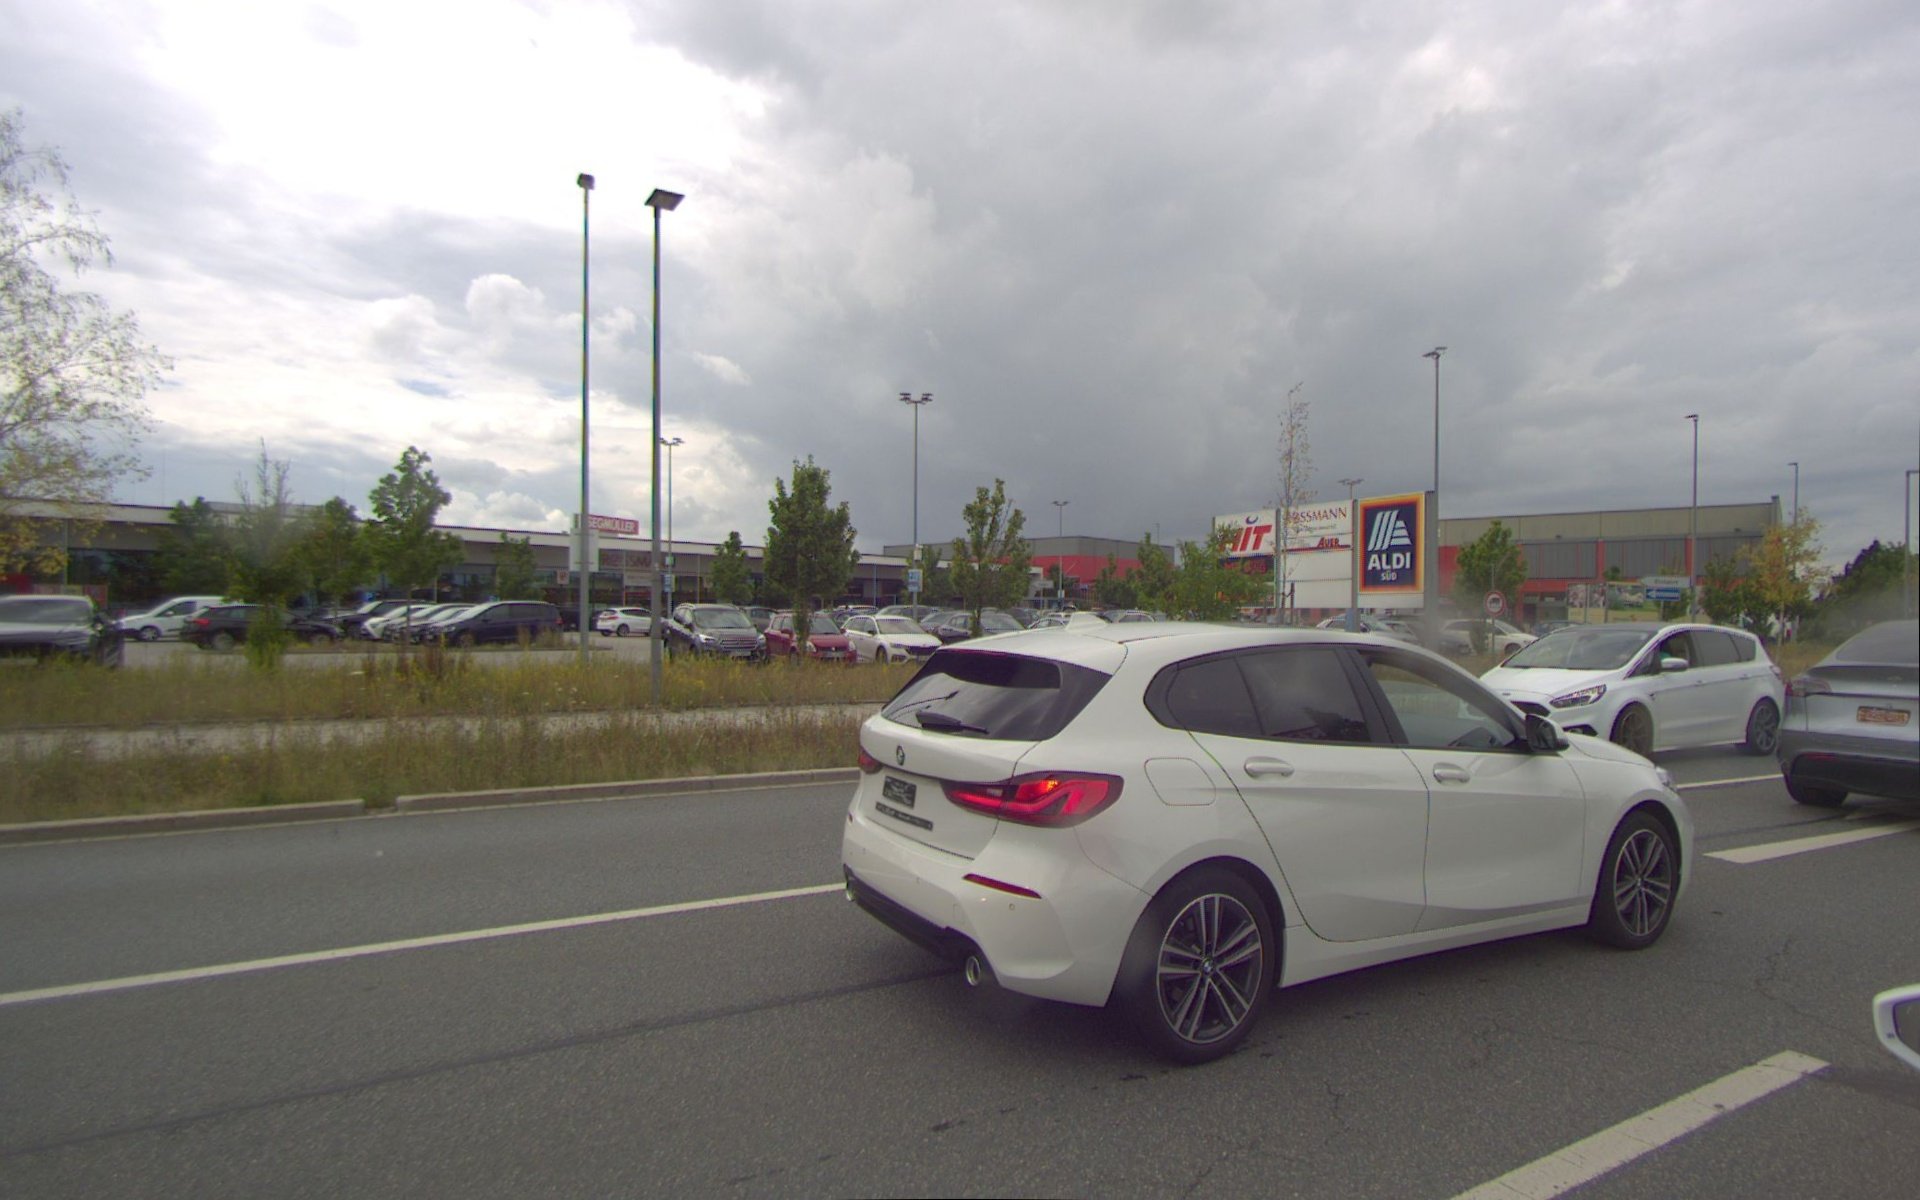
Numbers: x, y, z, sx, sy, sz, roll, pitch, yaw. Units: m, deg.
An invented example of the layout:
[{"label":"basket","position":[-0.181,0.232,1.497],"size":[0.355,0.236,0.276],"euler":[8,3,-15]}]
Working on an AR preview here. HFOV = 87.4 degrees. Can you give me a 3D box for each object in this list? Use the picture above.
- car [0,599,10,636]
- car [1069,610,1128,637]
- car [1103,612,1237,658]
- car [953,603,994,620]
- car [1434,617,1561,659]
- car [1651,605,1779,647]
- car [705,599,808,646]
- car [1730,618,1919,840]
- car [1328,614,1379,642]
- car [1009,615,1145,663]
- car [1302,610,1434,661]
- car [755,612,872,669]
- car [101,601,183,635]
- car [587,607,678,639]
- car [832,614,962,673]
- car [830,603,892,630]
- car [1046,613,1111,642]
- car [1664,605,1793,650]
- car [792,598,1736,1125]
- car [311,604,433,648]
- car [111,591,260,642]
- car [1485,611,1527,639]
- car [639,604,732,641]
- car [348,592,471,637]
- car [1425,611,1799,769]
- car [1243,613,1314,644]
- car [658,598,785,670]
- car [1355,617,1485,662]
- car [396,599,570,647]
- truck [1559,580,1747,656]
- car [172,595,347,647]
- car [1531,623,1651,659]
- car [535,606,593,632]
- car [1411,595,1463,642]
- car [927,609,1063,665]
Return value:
[{"label":"car","position":[-41.331,0.695,41.760],"size":[3.986,1.502,1.998],"euler":[0,-1,36]},{"label":"car","position":[8.830,1.503,63.803],"size":[1.969,1.628,3.982],"euler":[0,-1,39]},{"label":"car","position":[6.884,1.109,33.381],"size":[2.137,1.409,4.343],"euler":[1,-1,-26]},{"label":"car","position":[1.363,1.138,101.295],"size":[1.985,1.628,3.950],"euler":[2,-1,-42]},{"label":"car","position":[22.181,1.541,41.582],"size":[1.971,1.580,4.215],"euler":[1,-1,-37]},{"label":"car","position":[45.514,1.547,60.617],"size":[6.001,2.337,2.198],"euler":[1,-1,42]},{"label":"car","position":[-8.873,0.989,44.043],"size":[1.807,1.947,4.435],"euler":[1,-1,34]},{"label":"car","position":[8.809,0.974,8.476],"size":[4.555,1.582,1.986],"euler":[1,-1,-28]},{"label":"car","position":[25.415,1.774,64.852],"size":[1.969,1.752,3.982],"euler":[0,-1,39]},{"label":"car","position":[3.556,1.168,31.240],"size":[2.004,1.358,4.290],"euler":[1,-1,-31]},{"label":"car","position":[15.277,1.309,37.833],"size":[2.006,1.746,4.218],"euler":[2,-1,-32]},{"label":"car","position":[-4.031,1.042,27.077],"size":[1.974,1.409,4.070],"euler":[1,-1,-27]},{"label":"car","position":[-37.790,0.818,46.404],"size":[3.986,1.502,1.998],"euler":[0,-1,36]},{"label":"car","position":[-16.713,1.151,51.388],"size":[1.970,1.566,3.981],"euler":[0,-1,40]},{"label":"car","position":[-1.850,1.163,28.193],"size":[1.986,1.476,4.299],"euler":[1,-1,-29]},{"label":"car","position":[-6.637,1.129,67.839],"size":[1.969,1.755,3.982],"euler":[0,-1,39]},{"label":"car","position":[6.891,1.579,58.231],"size":[1.969,1.628,3.982],"euler":[0,-1,39]},{"label":"car","position":[49.028,1.725,64.165],"size":[6.338,2.633,2.231],"euler":[1,-1,43]},{"label":"car","position":[1.513,0.810,4.684],"size":[4.142,1.488,1.872],"euler":[2,-1,-29]},{"label":"car","position":[-24.351,1.069,41.692],"size":[1.809,1.706,3.986],"euler":[1,-1,36]},{"label":"car","position":[-30.470,0.649,39.583],"size":[2.211,1.899,4.286],"euler":[0,-1,40]},{"label":"car","position":[41.315,1.912,75.954],"size":[1.970,2.060,4.617],"euler":[0,-1,40]},{"label":"car","position":[-12.987,1.065,47.669],"size":[1.810,1.706,3.982],"euler":[0,-1,39]},{"label":"car","position":[-22.285,0.584,40.783],"size":[1.809,1.706,3.986],"euler":[1,-1,36]},{"label":"car","position":[8.192,1.036,12.558],"size":[4.645,1.658,1.985],"euler":[1,-3,-29]},{"label":"car","position":[17.783,1.590,55.938],"size":[1.969,1.628,5.250],"euler":[0,-1,39]},{"label":"car","position":[-6.203,0.821,25.800],"size":[2.056,1.677,4.280],"euler":[1,-1,-30]},{"label":"car","position":[17.716,1.504,38.879],"size":[2.020,1.533,4.225],"euler":[2,0,-28]},{"label":"car","position":[-16.471,0.791,34.874],"size":[5.071,1.539,1.974],"euler":[2,-1,-44]},{"label":"truck","position":[35.262,0.921,51.171],"size":[8.279,3.588,2.853],"euler":[1,0,-11]},{"label":"car","position":[-22.266,0.670,32.049],"size":[1.969,1.539,4.178],"euler":[0,-1,39]},{"label":"car","position":[28.547,1.823,45.552],"size":[1.977,1.454,4.206],"euler":[1,-1,-34]},{"label":"car","position":[-25.219,1.205,63.953],"size":[2.072,1.628,3.947],"euler":[1,-1,-45]},{"label":"car","position":[29.195,1.120,61.407],"size":[2.031,2.726,5.129],"euler":[0,-1,36]},{"label":"car","position":[0.951,1.039,29.939],"size":[2.211,1.525,4.348],"euler":[1,-1,-28]}]
